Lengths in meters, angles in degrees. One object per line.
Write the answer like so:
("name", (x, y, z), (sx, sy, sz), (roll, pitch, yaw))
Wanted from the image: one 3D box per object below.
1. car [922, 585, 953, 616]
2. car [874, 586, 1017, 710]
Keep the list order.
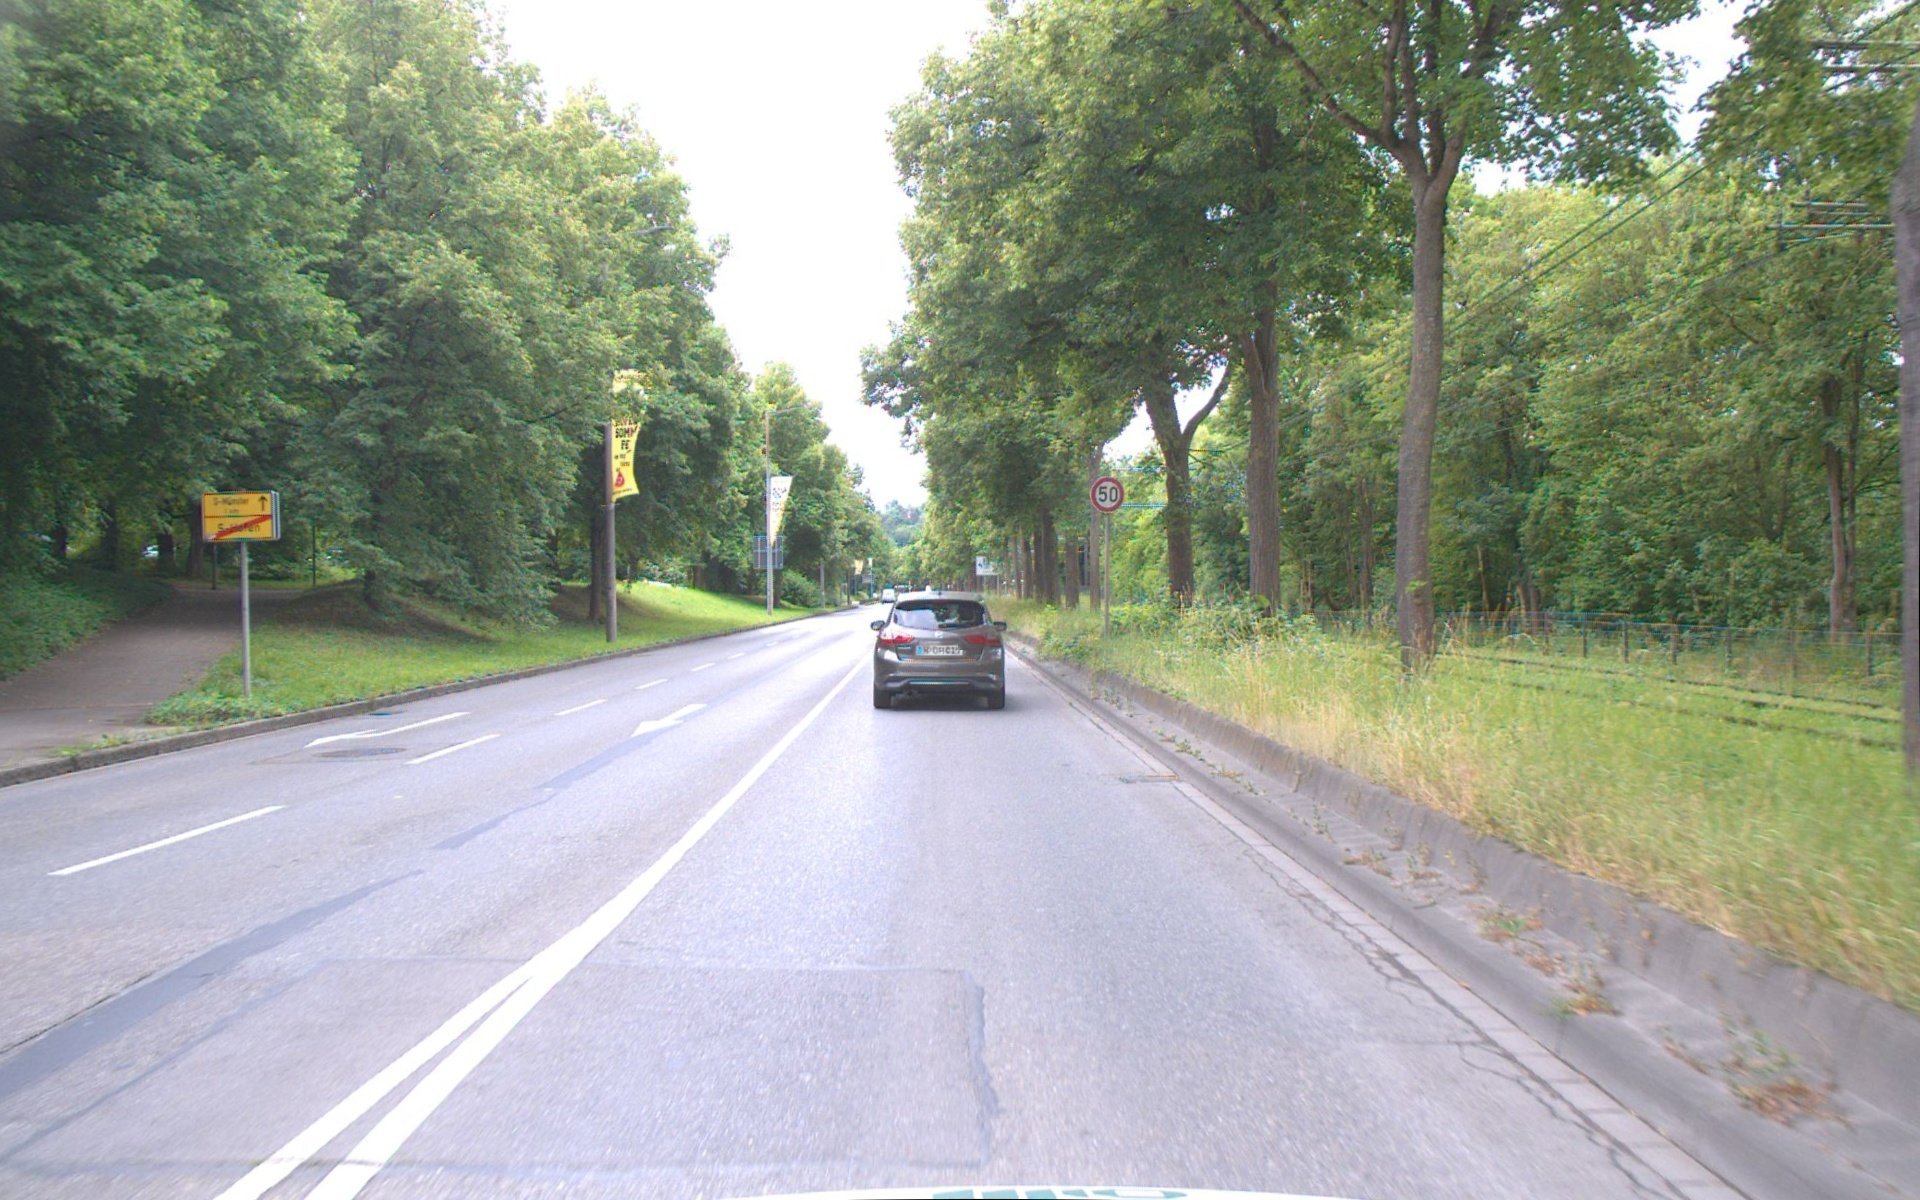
("car", (-1.131, 0.028, 84.604), (1.472, 1.555, 3.671), (1, 0, 1))
("car", (-0.166, 0.612, 22.996), (1.799, 1.555, 3.929), (1, 0, 1))
